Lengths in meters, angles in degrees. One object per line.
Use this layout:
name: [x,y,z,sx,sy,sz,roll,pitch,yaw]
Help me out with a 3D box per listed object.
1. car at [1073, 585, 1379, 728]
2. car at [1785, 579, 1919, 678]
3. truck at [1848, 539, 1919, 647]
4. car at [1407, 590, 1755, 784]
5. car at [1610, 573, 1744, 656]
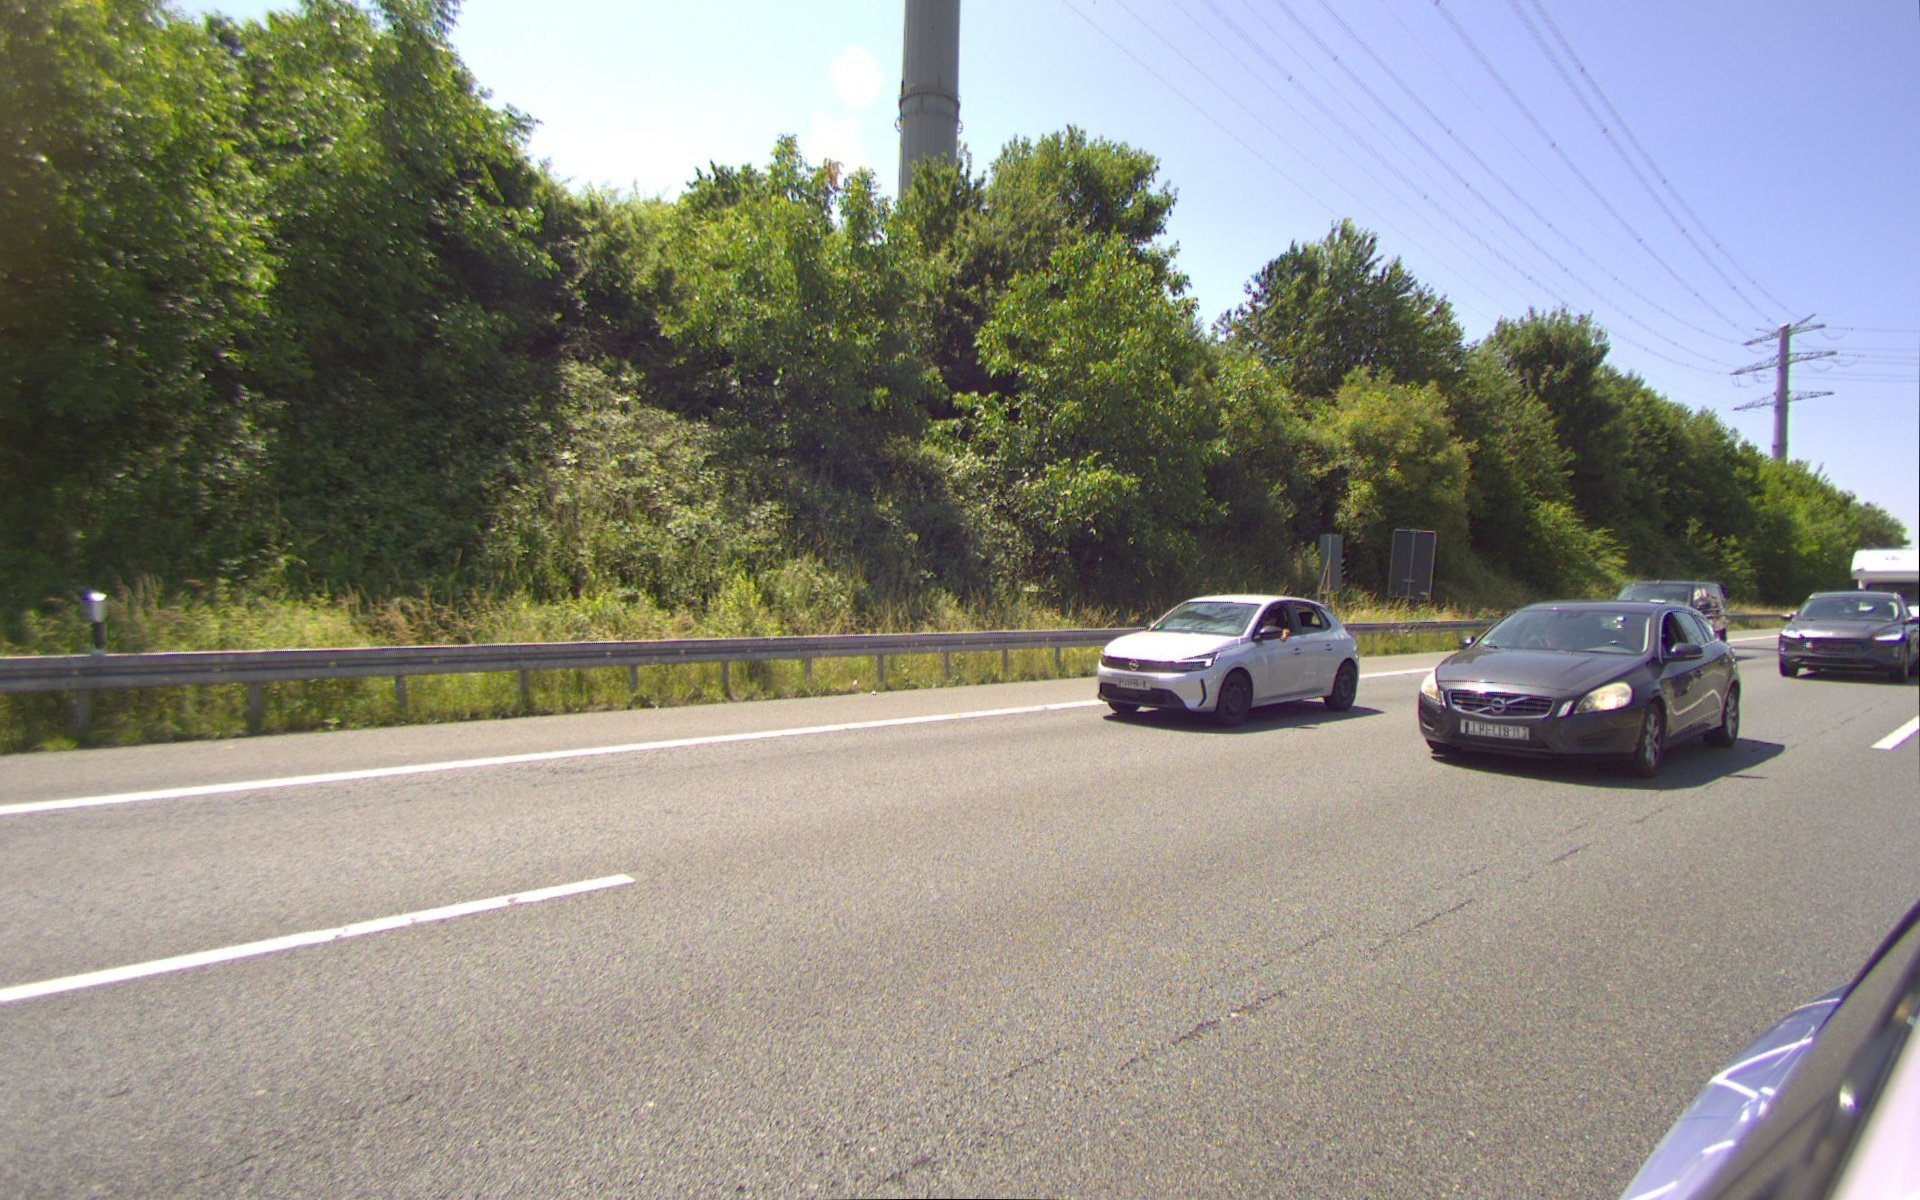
car: [3.374,0.573,12.464,3.944,1.488,1.744,0,0,-41]
car: [17.650,0.470,19.709,4.309,1.724,1.889,0,0,-43]
truck: [30.588,-0.232,31.914,9.723,3.053,2.513,0,0,-40]
car: [6.079,0.634,9.695,4.159,1.455,1.798,0,1,-43]
car: [18.389,0.325,25.879,4.617,1.928,1.787,0,0,-42]
